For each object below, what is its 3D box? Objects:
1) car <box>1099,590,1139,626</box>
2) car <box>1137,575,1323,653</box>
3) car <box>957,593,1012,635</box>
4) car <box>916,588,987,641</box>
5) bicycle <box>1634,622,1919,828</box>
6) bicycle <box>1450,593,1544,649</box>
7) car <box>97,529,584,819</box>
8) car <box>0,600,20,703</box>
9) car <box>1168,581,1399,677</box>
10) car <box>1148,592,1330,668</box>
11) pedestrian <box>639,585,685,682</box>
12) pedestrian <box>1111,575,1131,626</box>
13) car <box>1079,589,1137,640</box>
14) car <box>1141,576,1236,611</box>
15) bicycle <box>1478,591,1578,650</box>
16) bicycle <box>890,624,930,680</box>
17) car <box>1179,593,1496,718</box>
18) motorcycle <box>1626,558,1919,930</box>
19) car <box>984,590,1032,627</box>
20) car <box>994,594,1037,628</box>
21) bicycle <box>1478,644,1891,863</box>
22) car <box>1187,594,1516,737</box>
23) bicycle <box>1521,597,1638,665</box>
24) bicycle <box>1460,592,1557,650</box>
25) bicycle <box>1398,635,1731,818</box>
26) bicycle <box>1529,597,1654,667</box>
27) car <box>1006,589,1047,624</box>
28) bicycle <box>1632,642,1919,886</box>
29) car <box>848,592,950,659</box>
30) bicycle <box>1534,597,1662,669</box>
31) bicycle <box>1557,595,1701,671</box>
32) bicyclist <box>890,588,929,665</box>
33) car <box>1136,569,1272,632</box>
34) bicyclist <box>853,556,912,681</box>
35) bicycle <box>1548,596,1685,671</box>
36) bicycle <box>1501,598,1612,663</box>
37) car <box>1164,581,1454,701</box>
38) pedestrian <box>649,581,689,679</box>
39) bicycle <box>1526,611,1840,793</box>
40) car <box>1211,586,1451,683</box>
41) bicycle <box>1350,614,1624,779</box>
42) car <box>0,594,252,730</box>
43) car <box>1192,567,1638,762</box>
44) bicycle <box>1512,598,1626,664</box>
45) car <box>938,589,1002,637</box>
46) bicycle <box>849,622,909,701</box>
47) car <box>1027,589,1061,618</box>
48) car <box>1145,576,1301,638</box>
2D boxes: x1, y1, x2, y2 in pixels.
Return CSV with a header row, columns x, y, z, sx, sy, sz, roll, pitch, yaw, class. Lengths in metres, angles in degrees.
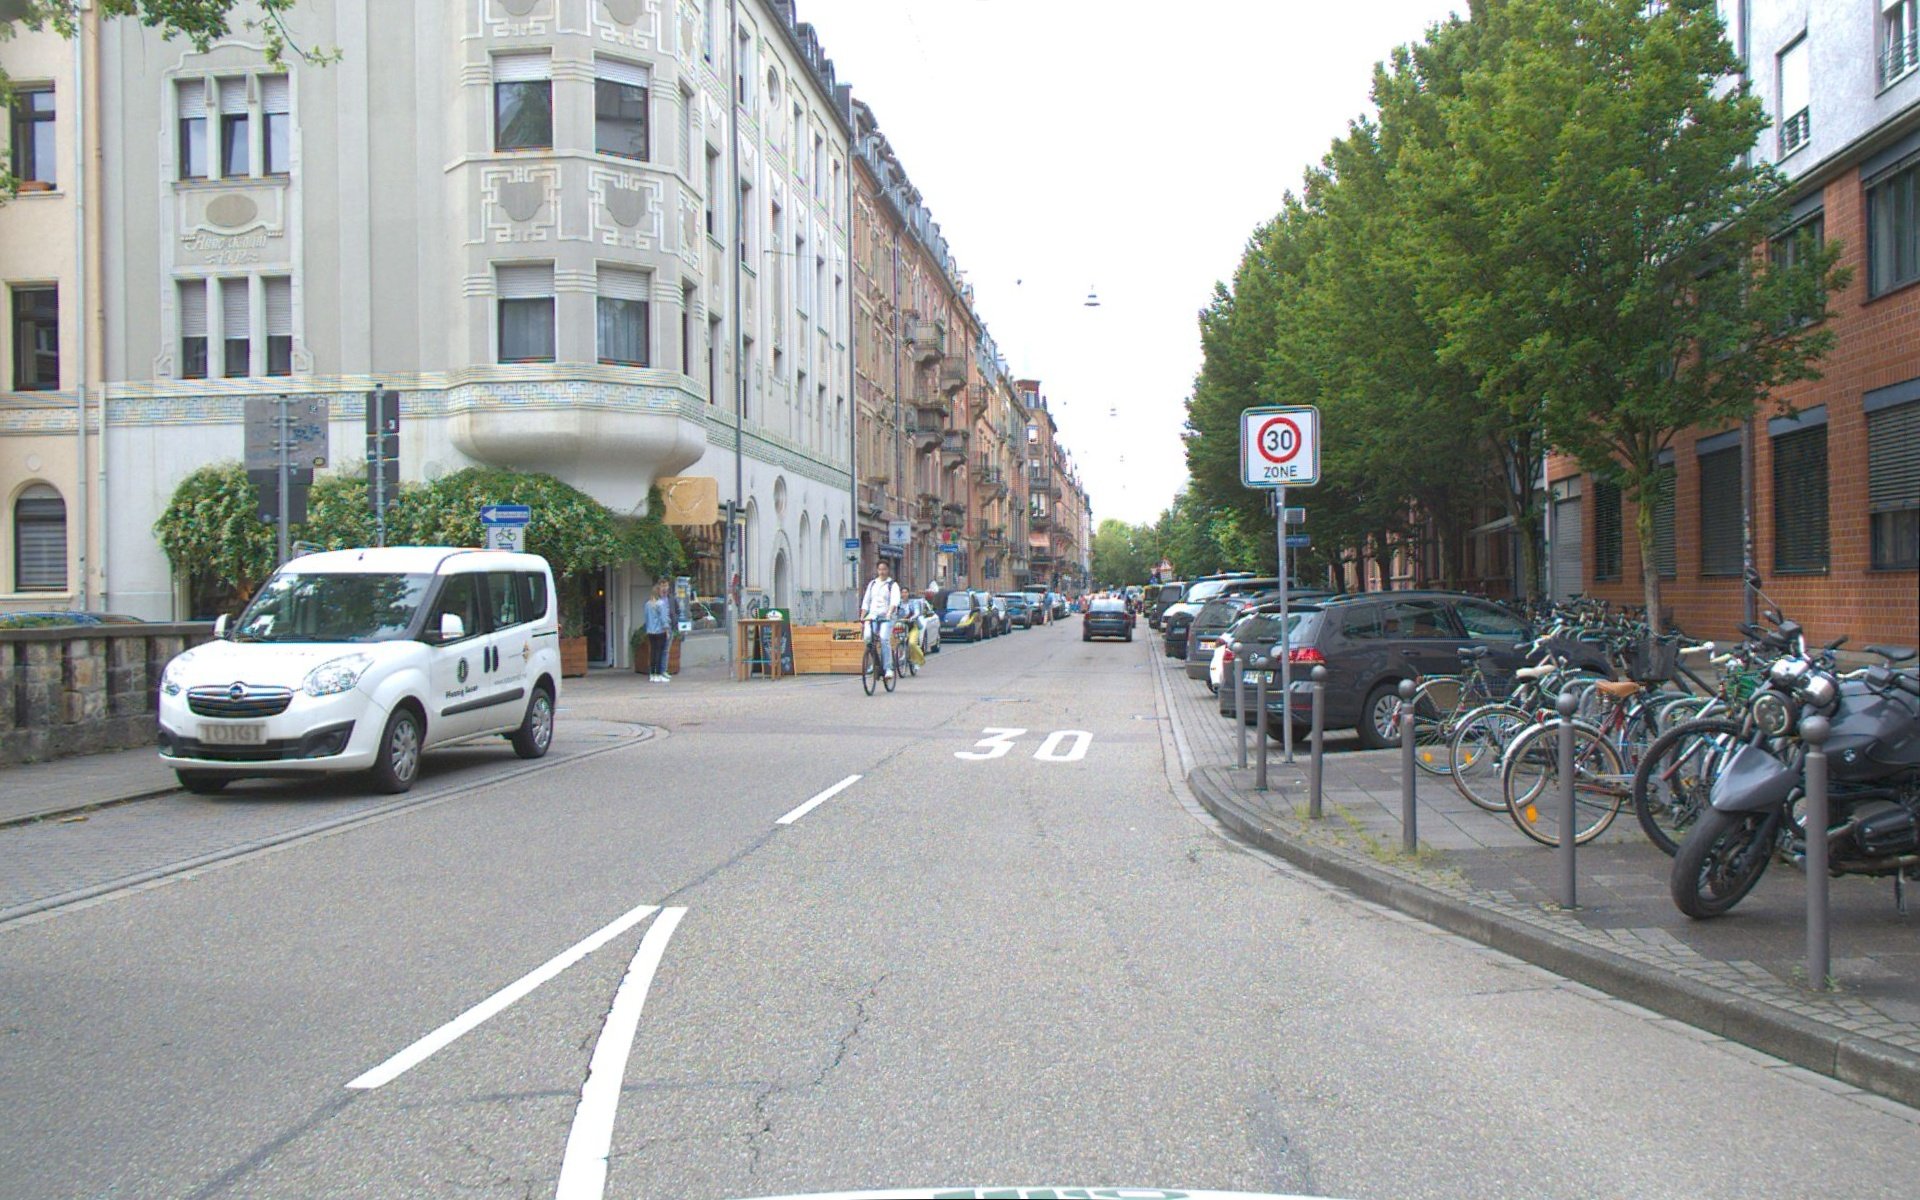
x,y,z,sx,sy,sz,roll,pitch,yaw,class
7.919,0.425,82.638,1.951,1.710,4.002,0,-1,5,car
8.217,0.396,50.206,5.543,2.164,1.932,-2,-1,-28,car
1.010,0.544,66.449,1.903,1.645,3.945,0,0,5,car
-0.243,0.463,54.022,1.903,1.645,3.945,0,0,6,car
4.959,0.695,9.487,1.889,1.096,0.612,-2,-1,3,bicycle
10.860,0.436,33.508,1.715,1.111,0.565,0,-1,6,bicycle
-4.794,0.489,13.640,1.804,1.973,4.551,0,0,8,car
-18.379,0.970,28.096,3.737,1.746,1.769,-2,2,4,car
6.103,0.527,31.199,3.995,1.612,1.757,-2,-1,-25,car
6.185,0.645,36.561,3.817,1.531,1.750,-2,-1,-34,car
-5.285,0.597,29.306,0.567,1.689,0.575,-1,-1,27,pedestrian
6.985,0.014,71.817,0.872,2.183,1.028,0,-1,5,pedestrian
5.256,0.530,58.728,1.951,1.710,4.002,0,-1,5,car
13.540,-0.391,97.887,5.315,1.900,1.936,-2,-1,-24,car
10.905,0.404,31.774,1.715,1.111,0.565,0,-1,6,bicycle
-0.919,0.954,30.803,0.524,0.995,1.866,0,-1,5,bicycle
5.150,0.722,22.567,3.923,1.570,1.861,1,0,-25,car
4.028,0.561,6.955,2.089,1.454,0.771,-2,-1,3,motorcycle
2.214,0.380,75.572,1.903,1.645,3.945,-1,0,5,car
2.767,0.545,81.640,1.903,1.645,3.945,0,0,5,car
3.816,0.801,8.818,1.889,1.061,0.612,-2,-1,3,bicycle
4.636,0.702,19.546,3.516,1.525,1.827,-1,0,-30,car
10.280,0.517,27.491,1.715,1.111,0.565,0,-1,6,bicycle
10.815,0.421,32.660,1.715,1.111,0.565,0,-1,6,bicycle
3.782,0.785,10.445,1.844,1.061,0.612,-2,-1,3,bicycle
10.247,0.519,26.860,1.797,1.111,0.565,0,-1,6,bicycle
3.522,0.338,87.399,1.903,1.772,3.945,0,0,6,car
4.365,0.759,7.964,1.967,1.081,0.612,-2,-1,3,bicycle
-1.517,0.638,42.653,1.902,1.580,3.820,-2,0,9,car
10.049,0.520,26.081,1.797,1.111,0.543,0,-1,6,bicycle
9.962,0.494,24.666,1.892,1.111,0.577,-1,-1,6,bicycle
-0.931,0.495,30.926,0.654,1.423,0.784,0,-1,3,bicyclist
10.225,0.018,69.406,5.297,2.415,1.942,-2,-1,-15,car
-1.189,0.278,25.485,0.765,1.899,0.715,-1,0,8,bicyclist
10.020,0.515,25.270,1.855,1.111,0.543,-1,-1,6,bicycle
10.403,0.526,28.875,1.715,1.111,0.565,0,-1,6,bicycle
5.321,0.593,25.204,3.996,1.612,1.888,-2,-1,-25,car
-5.289,0.539,30.059,0.572,1.765,0.501,0,-2,-30,pedestrian
4.949,0.690,11.400,1.844,1.161,0.612,-2,-1,3,bicycle
6.474,0.571,28.777,4.005,1.512,1.665,-2,-1,-30,car
3.964,0.721,12.525,1.844,1.161,0.612,-2,-1,3,bicycle
-11.521,0.799,21.375,3.972,1.635,1.769,-1,-1,4,car
4.656,0.589,16.857,4.224,1.606,1.847,-3,0,-27,car
10.394,0.535,28.266,1.715,1.111,0.565,0,-1,6,bicycle
0.390,0.457,59.463,1.903,1.645,3.945,0,0,6,car
-1.217,0.915,25.153,0.555,1.106,1.988,-1,0,8,bicycle
5.376,0.213,104.920,1.903,1.769,3.945,-1,0,6,car
9.294,0.241,58.248,5.325,2.027,1.932,-2,-1,-28,car
